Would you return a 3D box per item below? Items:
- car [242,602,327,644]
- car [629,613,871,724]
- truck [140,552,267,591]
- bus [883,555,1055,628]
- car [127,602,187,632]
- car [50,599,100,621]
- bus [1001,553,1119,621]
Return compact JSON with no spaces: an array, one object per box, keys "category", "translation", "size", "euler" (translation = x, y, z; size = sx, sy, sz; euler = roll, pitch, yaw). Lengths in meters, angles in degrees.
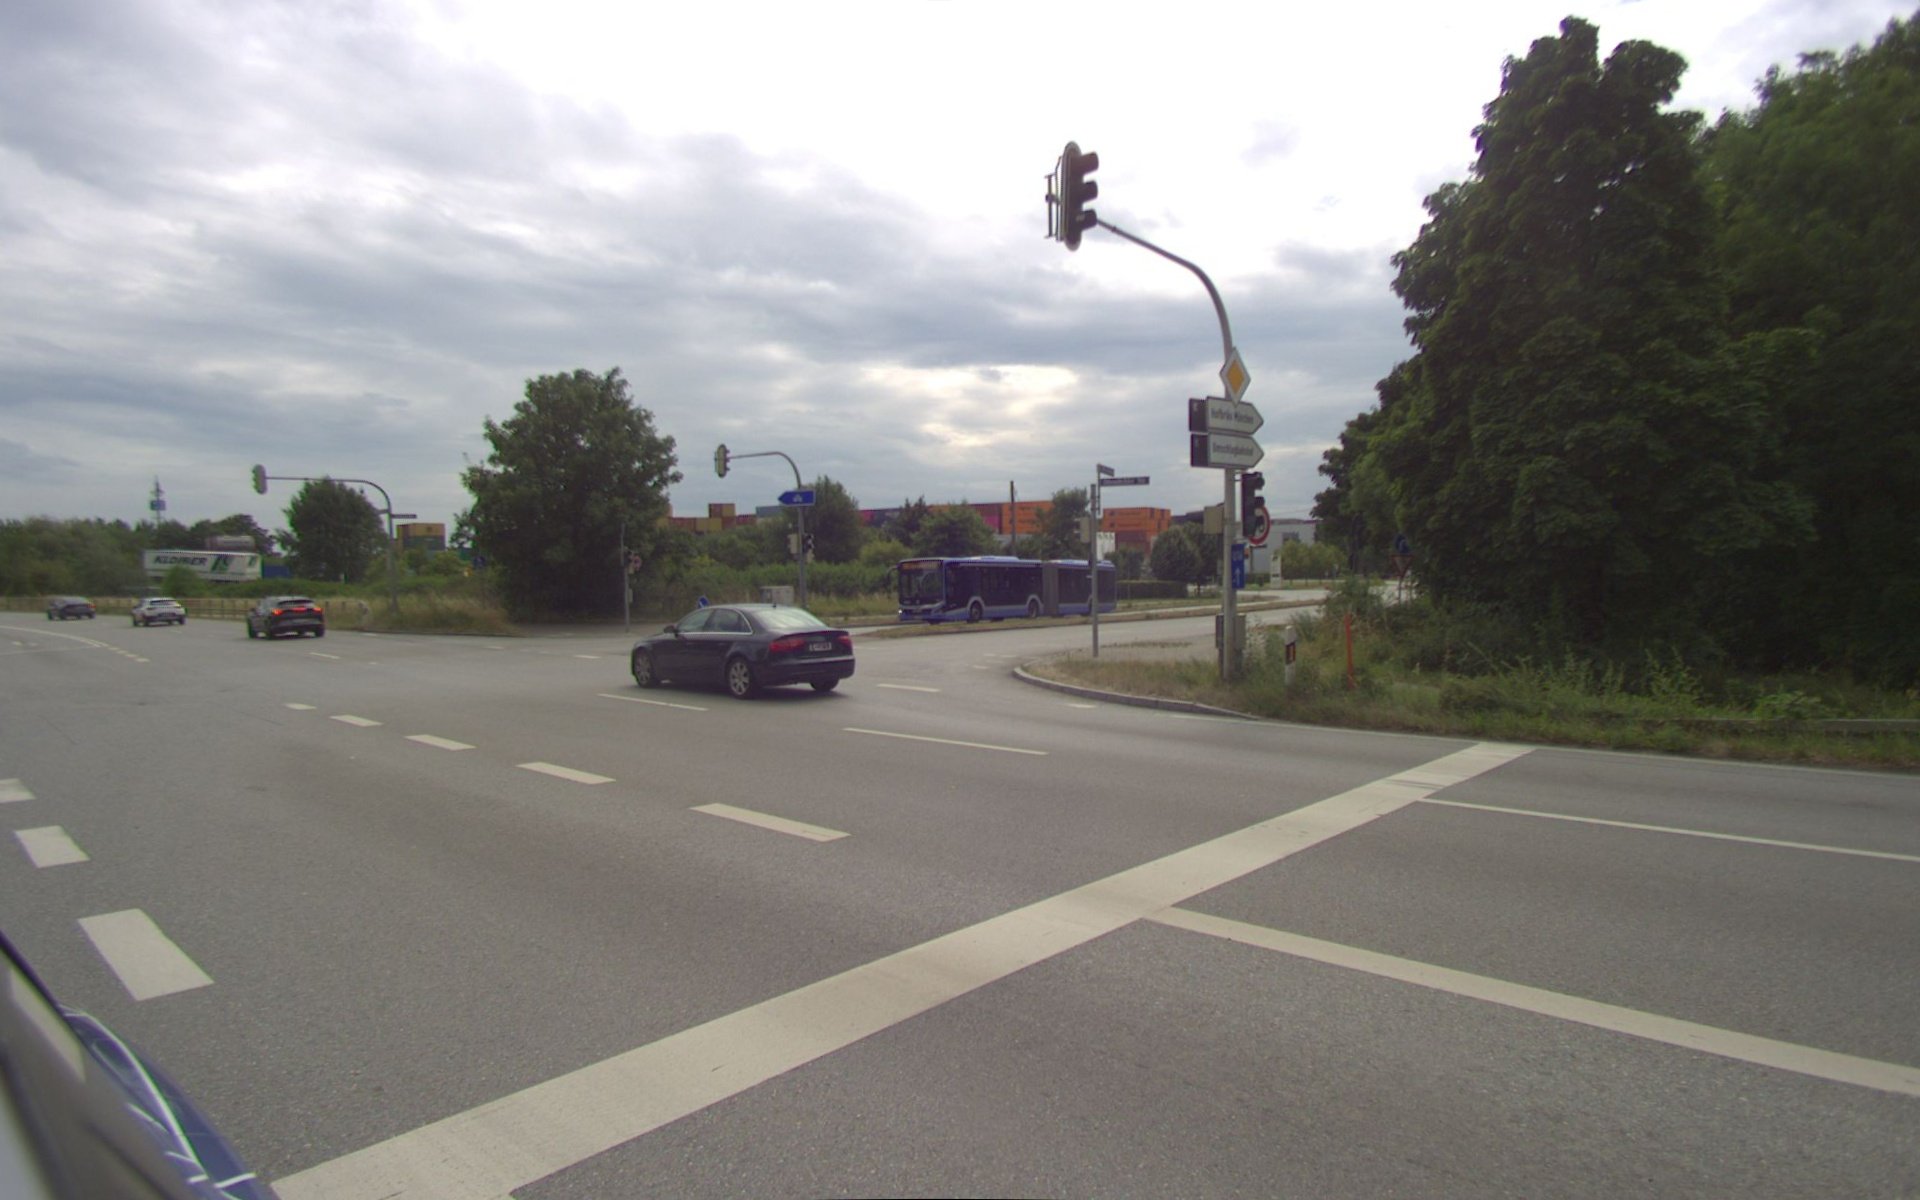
[{"category":"car","translation":[-25.113,0.811,37.586],"size":[4.001,1.395,1.721],"euler":[0,3,43]},{"category":"car","translation":[-3.477,0.985,16.262],"size":[4.201,1.497,1.720],"euler":[-1,0,44]},{"category":"truck","translation":[-94.911,-3.566,127.021],"size":[14.034,4.358,3.358],"euler":[2,1,5]},{"category":"bus","translation":[0.697,-0.418,47.368],"size":[3.113,3.069,9.959],"euler":[-1,0,33]},{"category":"car","translation":[-43.192,0.890,54.421],"size":[3.997,1.497,1.722],"euler":[0,3,41]},{"category":"car","translation":[-61.040,0.664,69.784],"size":[3.992,1.395,1.725],"euler":[0,3,36]},{"category":"bus","translation":[5.560,-0.699,54.785],"size":[3.113,3.372,7.736],"euler":[-1,0,33]}]
